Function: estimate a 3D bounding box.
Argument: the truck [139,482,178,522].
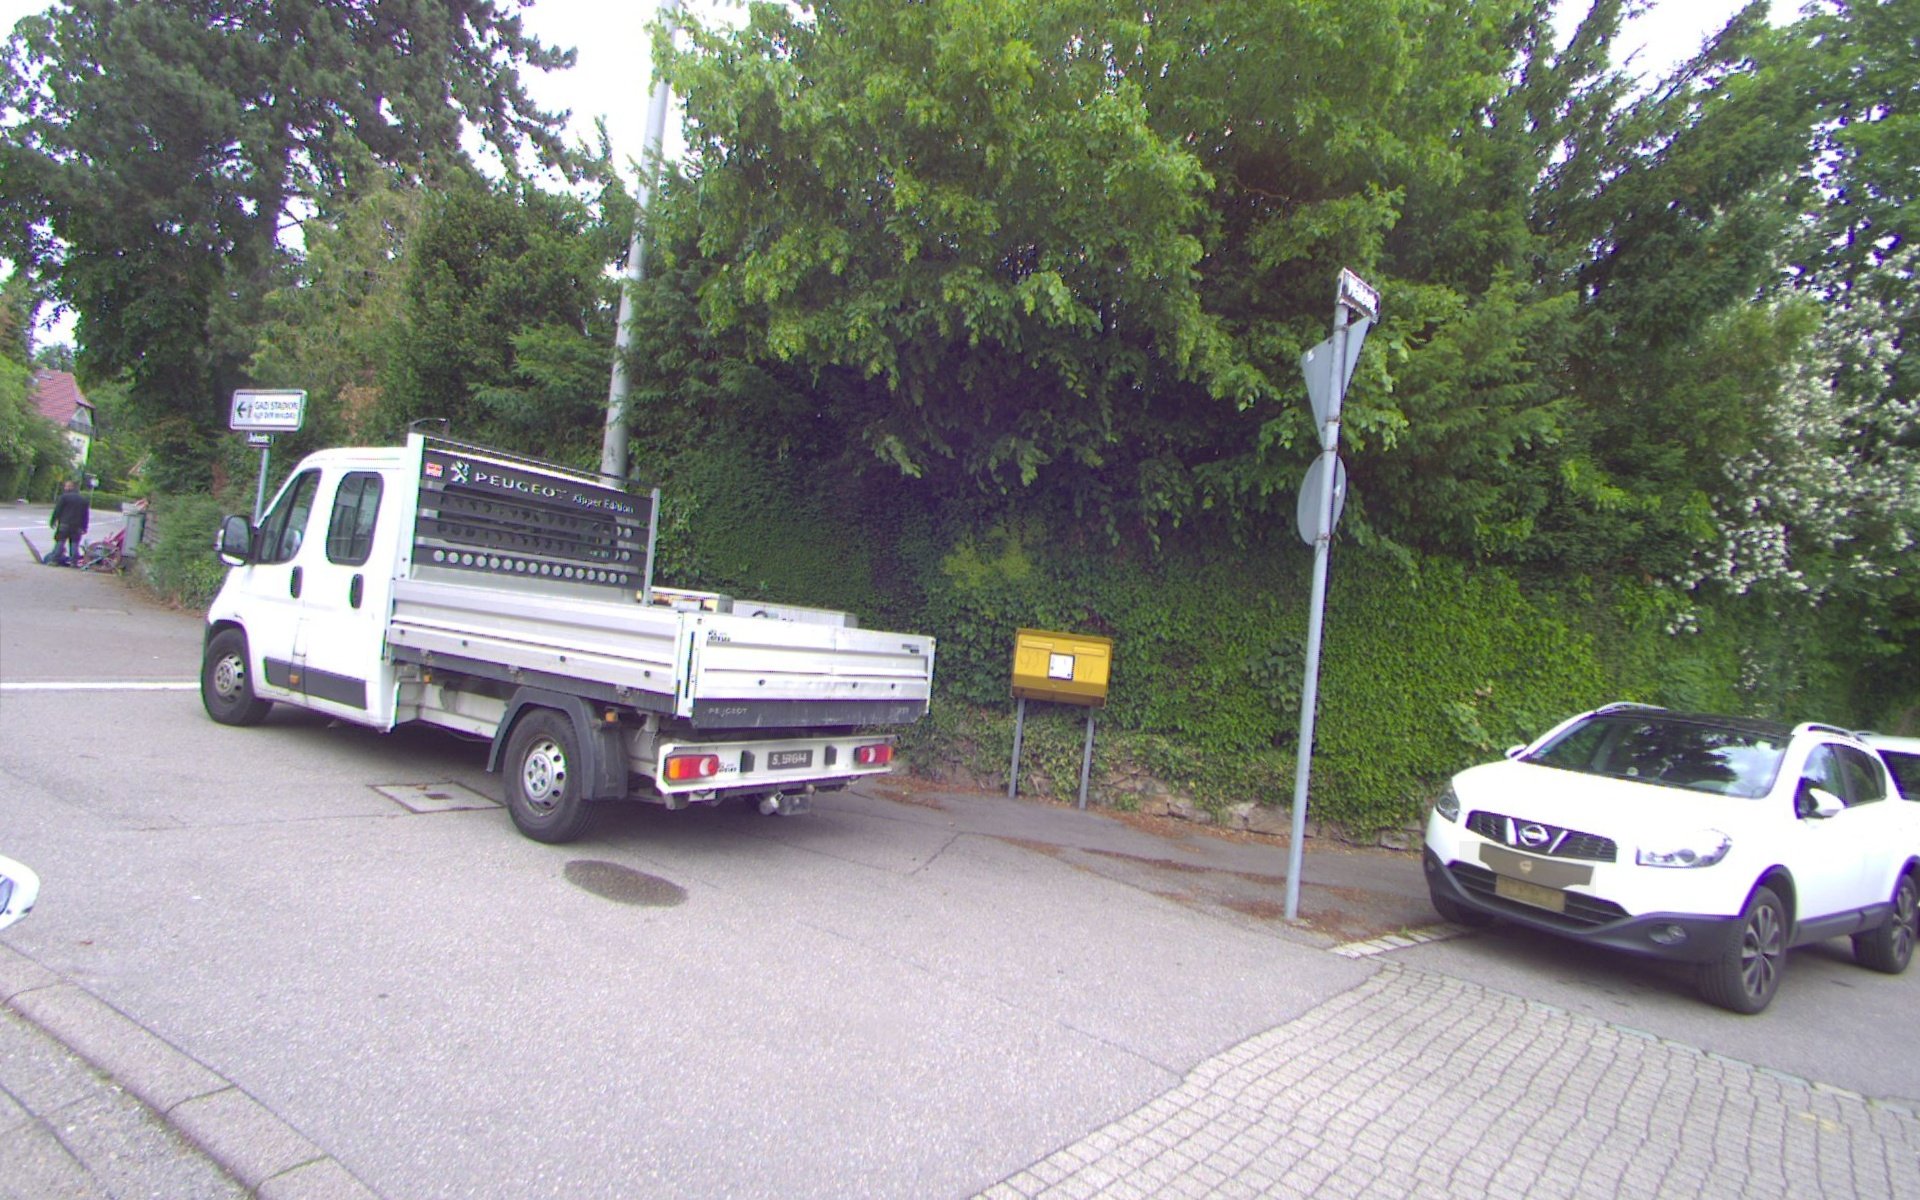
[{"bbox_3d":[-83.231,-10.122,104.492,2.766,3.501,7.415,8,-2,-38],"label":"truck"}]

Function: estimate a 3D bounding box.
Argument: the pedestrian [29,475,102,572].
[{"bbox_3d":[-19.560,-1.662,21.994,0.788,1.946,0.847,8,0,34],"label":"pedestrian"}]

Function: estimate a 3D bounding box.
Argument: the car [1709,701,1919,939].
[{"bbox_3d":[8.942,2.041,9.344,4.030,1.679,1.852,9,-2,-34],"label":"car"}]

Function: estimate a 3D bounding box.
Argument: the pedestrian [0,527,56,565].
[{"bbox_3d":[-20.668,-1.188,22.318,0.574,0.705,0.647,8,-1,13],"label":"pedestrian"}]

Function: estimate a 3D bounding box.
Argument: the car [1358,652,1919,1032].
[{"bbox_3d":[4.780,1.454,6.713,4.029,1.659,1.852,9,-2,-33],"label":"car"}]

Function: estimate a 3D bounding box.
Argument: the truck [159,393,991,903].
[{"bbox_3d":[-3.095,0.076,7.360,6.090,2.379,2.400,6,-2,34],"label":"truck"}]
